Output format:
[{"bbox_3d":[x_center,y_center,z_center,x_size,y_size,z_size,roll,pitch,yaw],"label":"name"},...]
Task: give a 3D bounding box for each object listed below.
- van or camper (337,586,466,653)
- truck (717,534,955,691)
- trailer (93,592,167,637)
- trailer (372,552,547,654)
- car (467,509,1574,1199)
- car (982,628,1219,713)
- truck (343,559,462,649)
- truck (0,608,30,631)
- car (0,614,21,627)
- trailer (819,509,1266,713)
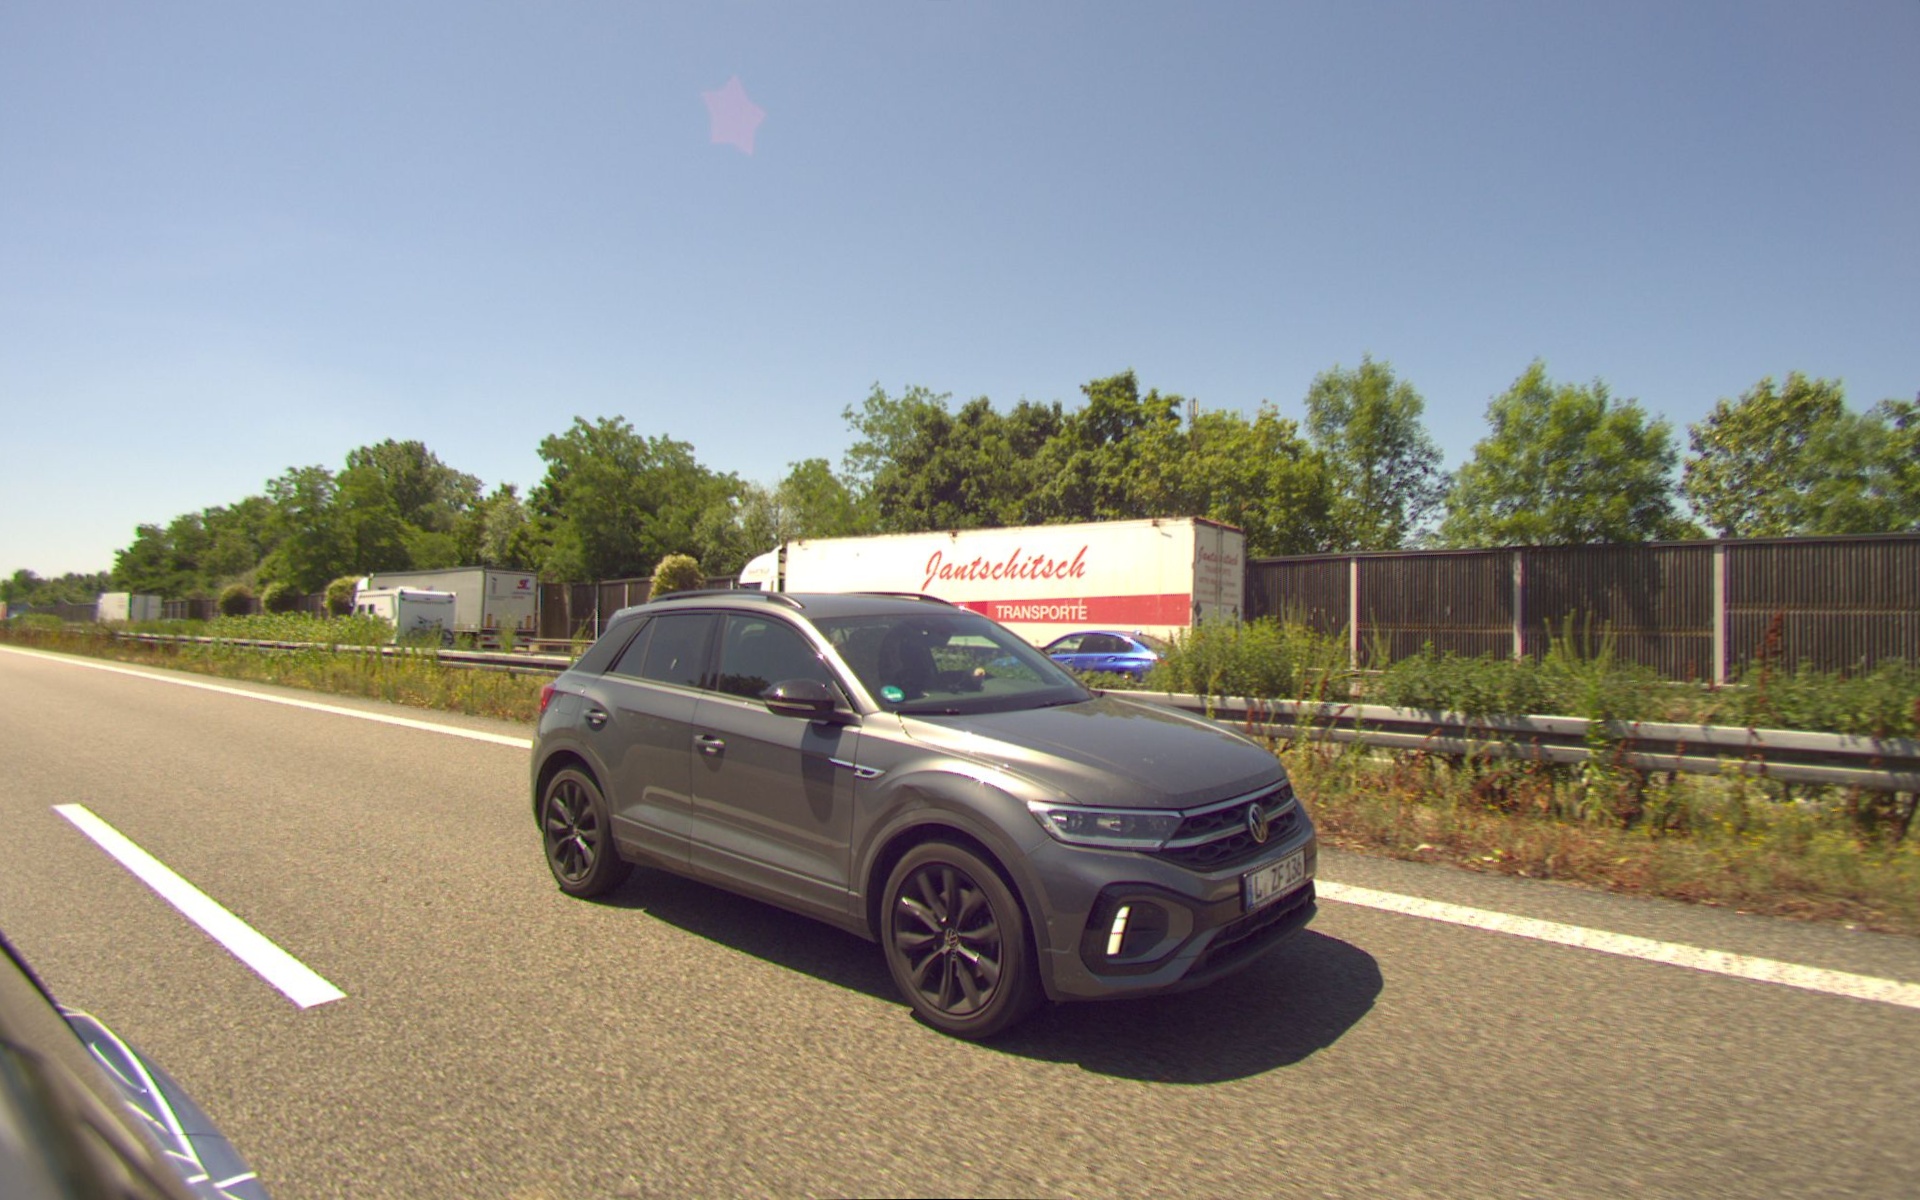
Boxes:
[{"bbox_3d":[-23.665,0.809,42.718,7.408,2.596,2.439,-1,-1,42],"label":"van or camper"},{"bbox_3d":[-3.970,0.415,30.819,7.711,4.239,2.812,-1,-1,42],"label":"truck"},{"bbox_3d":[-81.485,1.488,99.217,12.790,4.135,3.572,-1,-3,42],"label":"trailer"},{"bbox_3d":[-25.010,0.241,50.062,12.947,4.512,3.133,-1,-1,42],"label":"trailer"},{"bbox_3d":[-0.220,0.702,4.697,5.004,1.652,1.861,-2,-2,40],"label":"car"},{"bbox_3d":[2.666,1.284,19.691,4.205,1.430,1.881,-1,-1,39],"label":"car"},{"bbox_3d":[-30.162,0.269,54.647,7.867,4.473,3.183,-1,-1,42],"label":"truck"},{"bbox_3d":[-152.096,3.172,162.182,16.998,3.367,2.808,-2,-2,42],"label":"truck"},{"bbox_3d":[-119.528,2.602,127.035,4.504,1.608,1.972,-1,-3,41],"label":"car"},{"bbox_3d":[1.452,0.342,26.008,12.216,4.205,2.812,-1,-1,42],"label":"trailer"}]
